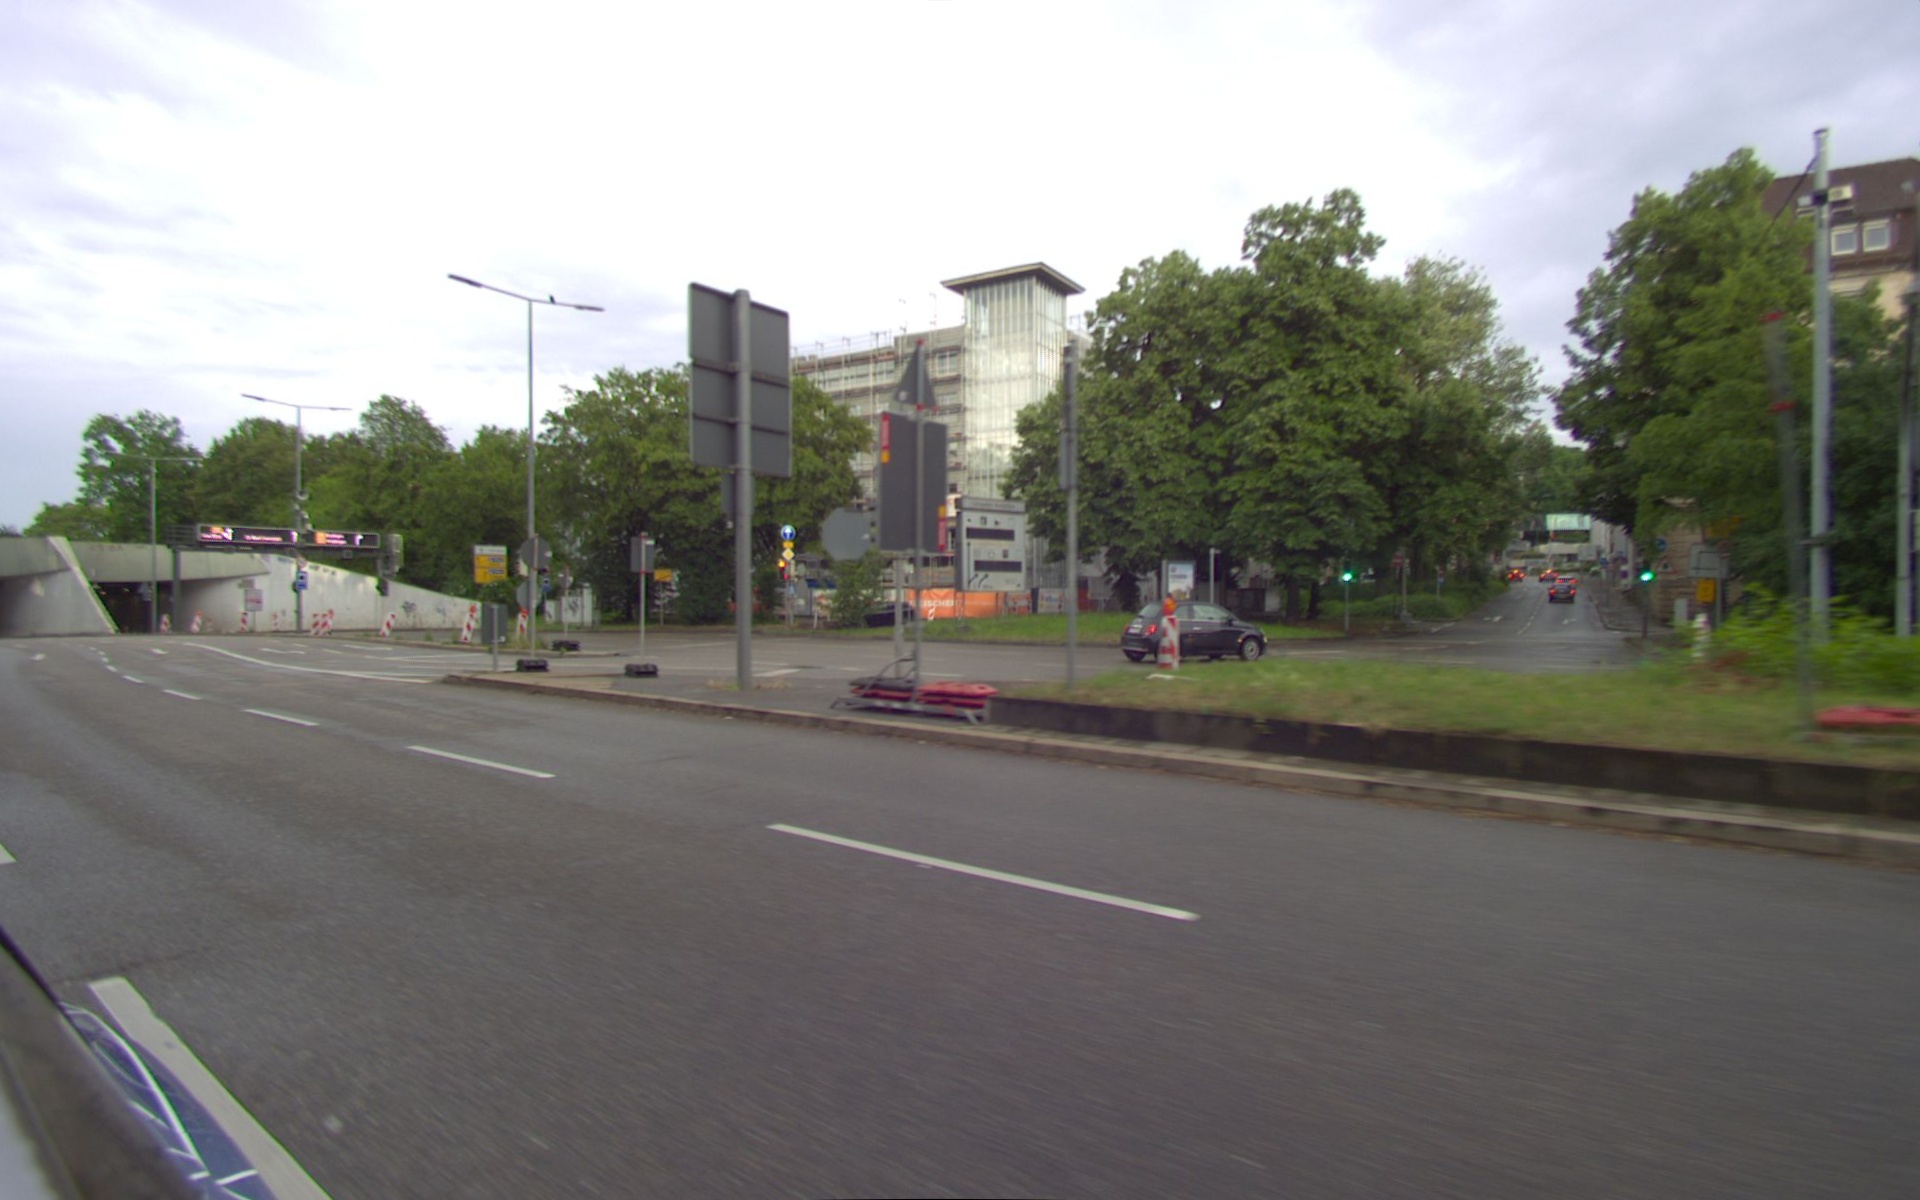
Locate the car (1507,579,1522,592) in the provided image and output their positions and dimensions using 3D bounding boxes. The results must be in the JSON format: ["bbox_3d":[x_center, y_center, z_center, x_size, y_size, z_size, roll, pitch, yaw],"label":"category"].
[{"bbox_3d":[72.492,-1.889,132.267,1.586,1.745,3.466,0,0,31],"label":"car"}]

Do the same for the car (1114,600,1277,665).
[{"bbox_3d":[5.590,0.739,24.114,3.444,1.452,1.596,0,0,-16],"label":"car"}]

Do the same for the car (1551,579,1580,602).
[{"bbox_3d":[45.994,-0.697,76.888,1.871,1.670,3.466,0,0,31],"label":"car"}]

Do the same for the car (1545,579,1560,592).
[{"bbox_3d":[74.783,-1.832,127.799,1.586,1.670,3.466,0,0,31],"label":"car"}]

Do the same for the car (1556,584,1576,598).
[{"bbox_3d":[56.347,-0.826,94.130,1.586,1.173,3.466,0,0,31],"label":"car"}]

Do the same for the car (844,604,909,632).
[{"bbox_3d":[-4.357,0.910,53.357,1.465,1.299,3.676,-1,1,32],"label":"car"}]
